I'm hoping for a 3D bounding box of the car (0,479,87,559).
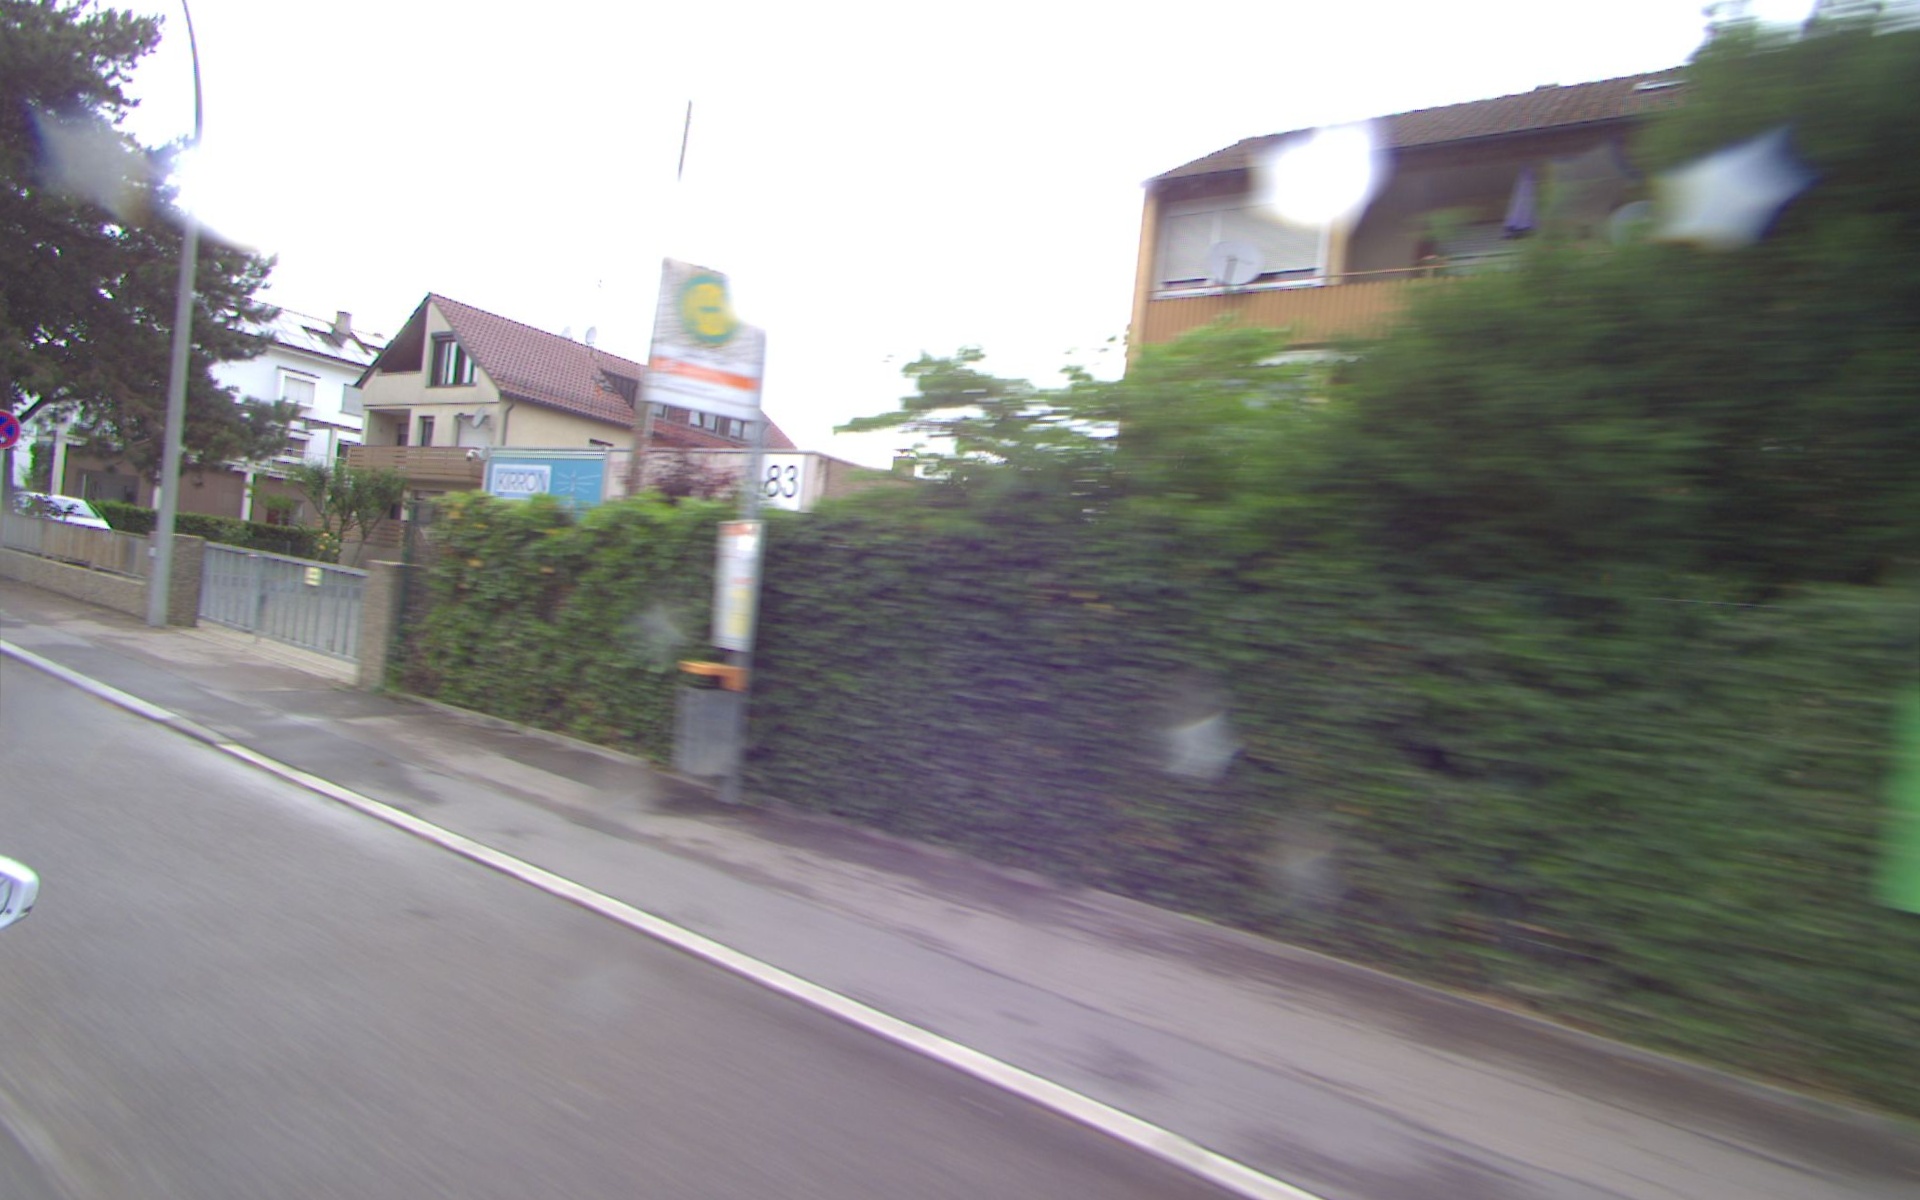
[{"bbox_3d":[-22.057,-1.911,22.999,3.935,1.502,1.998,4,-4,32],"label":"car"}]
